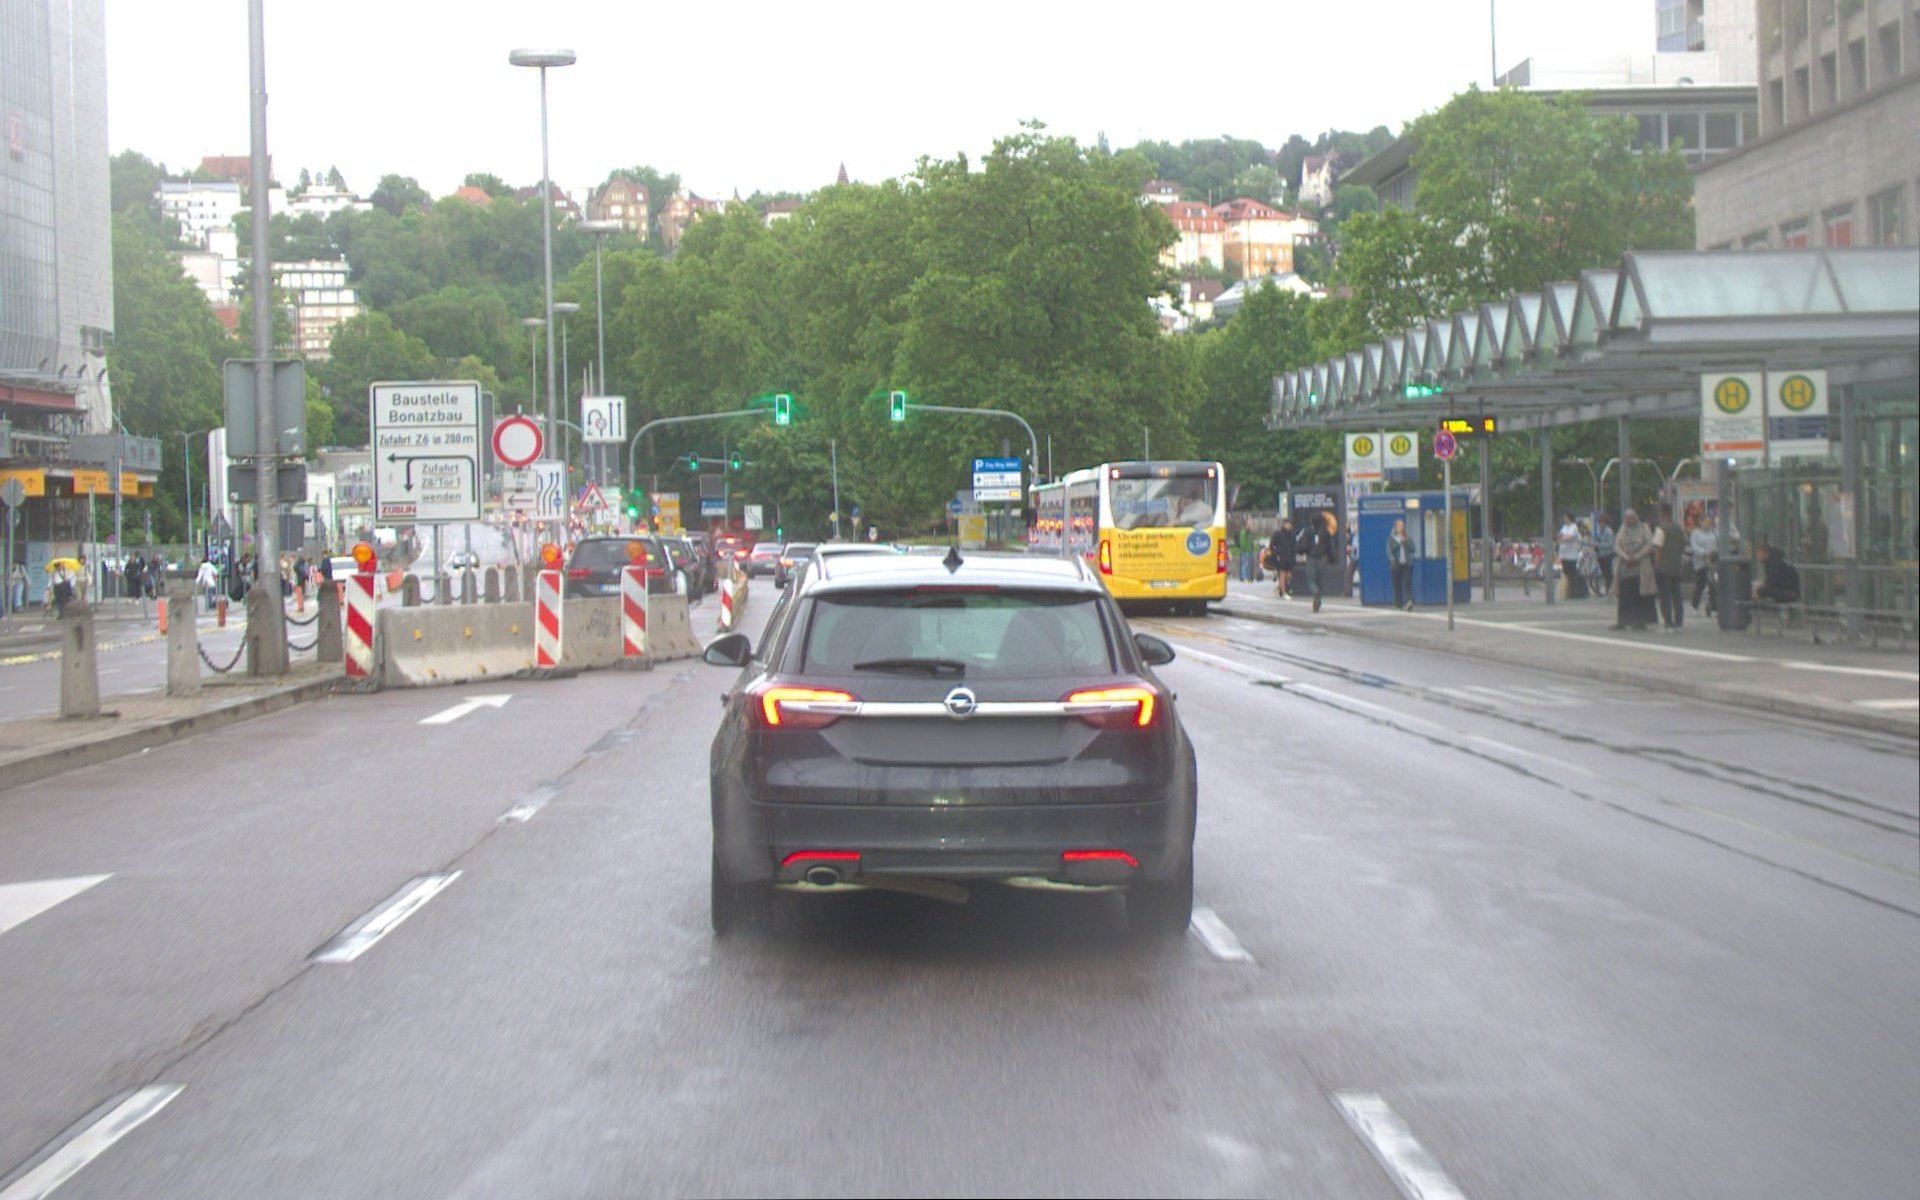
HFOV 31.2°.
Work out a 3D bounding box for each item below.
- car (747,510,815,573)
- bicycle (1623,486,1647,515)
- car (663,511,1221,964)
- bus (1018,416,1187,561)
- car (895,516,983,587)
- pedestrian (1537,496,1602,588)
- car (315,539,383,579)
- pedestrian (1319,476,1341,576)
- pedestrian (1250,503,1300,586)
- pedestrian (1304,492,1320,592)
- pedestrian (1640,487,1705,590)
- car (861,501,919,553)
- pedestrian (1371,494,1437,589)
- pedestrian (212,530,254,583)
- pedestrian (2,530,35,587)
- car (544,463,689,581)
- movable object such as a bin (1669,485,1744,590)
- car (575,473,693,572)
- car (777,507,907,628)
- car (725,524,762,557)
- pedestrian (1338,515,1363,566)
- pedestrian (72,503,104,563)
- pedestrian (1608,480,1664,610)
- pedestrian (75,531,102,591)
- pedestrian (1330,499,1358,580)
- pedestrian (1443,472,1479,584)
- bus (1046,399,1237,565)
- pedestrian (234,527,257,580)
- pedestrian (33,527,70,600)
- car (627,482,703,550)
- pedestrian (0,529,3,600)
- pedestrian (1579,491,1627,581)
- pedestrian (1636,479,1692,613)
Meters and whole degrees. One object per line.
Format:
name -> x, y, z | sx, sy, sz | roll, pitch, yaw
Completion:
car -> -5.822, -1.906, 111.398 | 1.983, 2.007, 4.370 | 0, 1, -6
bicycle -> 24.400, -3.604, 124.281 | 0.616, 1.022, 1.996 | -3, 2, 5
car -> -0.095, 0.406, 14.144 | 1.877, 1.503, 4.852 | -1, 2, -1
bus -> 3.247, -2.569, 80.956 | 3.113, 3.194, 9.243 | 0, 1, -3
car -> -0.534, -1.209, 84.781 | 1.851, 1.711, 4.001 | 0, 1, -5
pedestrian -> 12.169, -1.165, 68.626 | 0.786, 1.798, 0.993 | -2, 2, -30
car -> -23.022, -1.559, 129.681 | 1.993, 1.463, 4.001 | 0, 1, -2
pedestrian -> 6.799, -1.359, 63.210 | 0.347, 1.830, 0.533 | -1, 2, 1
pedestrian -> 7.042, -1.253, 76.778 | 0.985, 1.830, 0.835 | 0, 2, 14
pedestrian -> 6.471, -1.066, 63.197 | 0.243, 1.830, 0.512 | -1, 2, 1
pedestrian -> 11.544, -1.005, 55.705 | 0.759, 1.649, 0.680 | -2, 2, -26
car -> -2.168, -2.245, 105.590 | 1.674, 1.576, 3.240 | 0, 1, -3
pedestrian -> 7.992, -1.056, 61.905 | 0.759, 1.684, 0.999 | -2, 2, -23
pedestrian -> -25.395, -1.525, 120.057 | 0.984, 1.834, 1.040 | -1, 2, 18
pedestrian -> -26.755, -1.182, 97.711 | 0.676, 1.608, 0.839 | -1, 2, 0
car -> -5.753, -1.327, 58.137 | 1.993, 1.856, 4.833 | -2, 2, -1
movable object such as a bin -> 11.909, -1.008, 54.869 | 0.662, 1.646, 1.049 | -2, 2, -25
car -> -5.983, -1.440, 63.523 | 1.993, 1.700, 4.833 | -2, 2, -4
car -> -1.738, -0.520, 51.305 | 1.830, 1.680, 4.134 | -1, 2, -1
car -> -10.950, -3.021, 174.141 | 1.706, 1.659, 3.706 | 0, 1, -1
pedestrian -> 9.676, -1.483, 85.276 | 0.514, 1.228, 0.770 | -2, 1, 1
pedestrian -> -27.188, -2.097, 107.196 | 0.771, 1.834, 0.835 | -1, 2, 0
pedestrian -> 9.631, -0.787, 48.989 | 0.675, 1.830, 0.574 | -1, 2, 0
pedestrian -> -24.942, -1.117, 98.350 | 0.681, 1.679, 0.839 | -1, 2, -16
pedestrian -> 8.710, -1.372, 77.937 | 0.565, 1.830, 0.569 | -1, 2, 1
pedestrian -> 9.882, -1.424, 67.843 | 0.590, 2.207, 0.587 | -1, 2, 0
bus -> 3.672, -2.407, 71.796 | 3.141, 3.236, 9.136 | 0, 1, -2
pedestrian -> -25.164, -1.635, 121.113 | 0.697, 1.834, 0.529 | -2, 2, -4
pedestrian -> -23.370, -0.948, 88.452 | 0.875, 1.834, 0.839 | -1, 2, -16
car -> -8.123, -2.325, 94.876 | 1.993, 1.780, 4.455 | -2, 2, -5
pedestrian -> -25.059, -0.916, 88.879 | 0.570, 1.834, 0.705 | -1, 2, -16
pedestrian -> 12.233, -1.218, 65.423 | 0.748, 1.689, 0.902 | -1, 2, 1
pedestrian -> 9.796, -0.756, 47.845 | 0.627, 1.830, 0.641 | -1, 2, 0
